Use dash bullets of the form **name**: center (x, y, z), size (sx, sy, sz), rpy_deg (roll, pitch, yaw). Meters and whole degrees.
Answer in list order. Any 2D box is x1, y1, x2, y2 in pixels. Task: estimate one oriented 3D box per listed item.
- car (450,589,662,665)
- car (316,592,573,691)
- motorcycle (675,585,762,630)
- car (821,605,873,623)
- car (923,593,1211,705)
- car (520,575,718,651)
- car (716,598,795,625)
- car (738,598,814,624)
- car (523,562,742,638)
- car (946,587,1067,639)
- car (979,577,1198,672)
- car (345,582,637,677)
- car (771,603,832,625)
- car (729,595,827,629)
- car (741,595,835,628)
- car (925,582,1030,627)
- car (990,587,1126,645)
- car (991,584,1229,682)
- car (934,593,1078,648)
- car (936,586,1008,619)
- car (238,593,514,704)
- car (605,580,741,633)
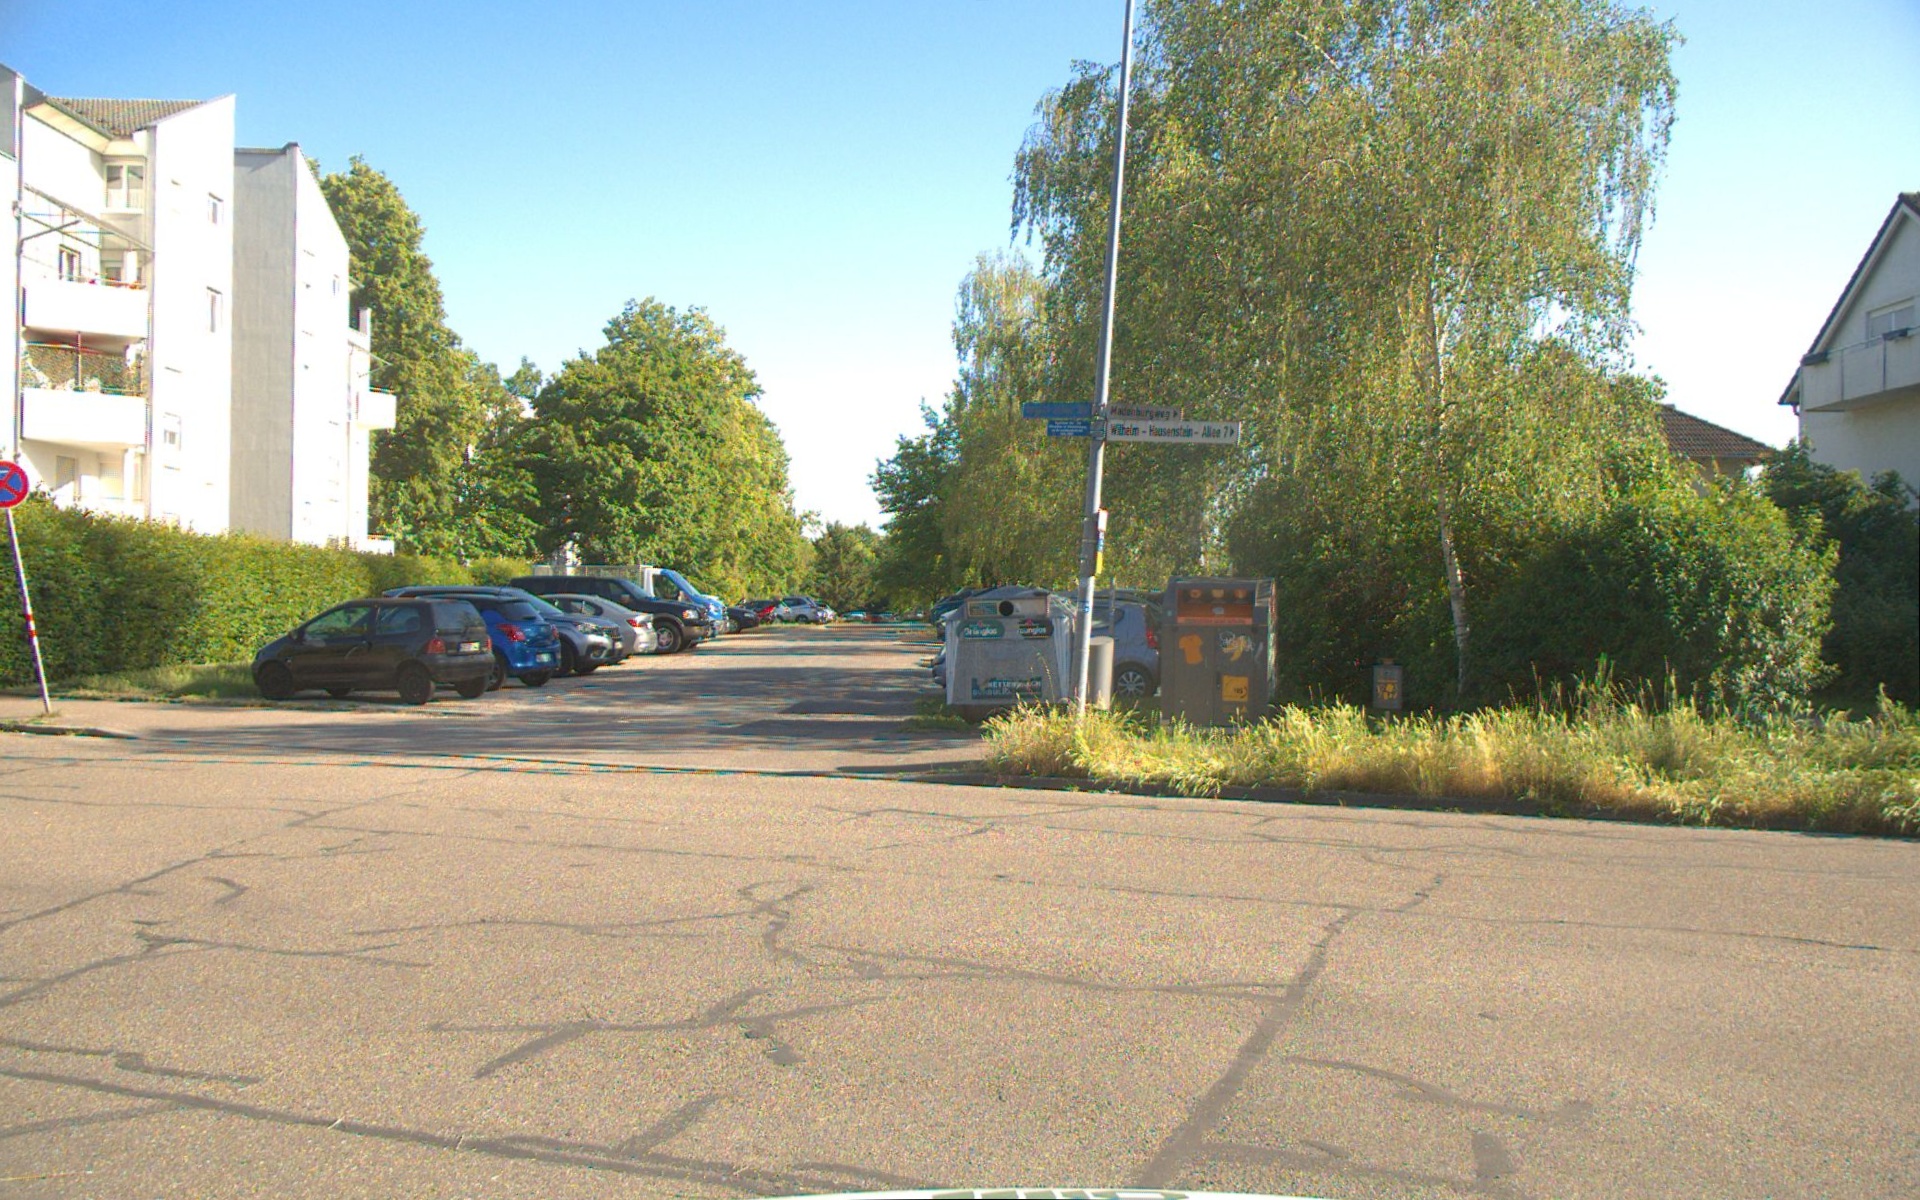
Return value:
- **car**: center (-8.405, 0.553, 34.688), size (4.061, 1.480, 1.618), rpy_deg (-1, 0, -3)
- **car**: center (-8.295, 0.647, 26.725), size (3.601, 1.523, 1.652), rpy_deg (0, 0, 12)
- **motorcycle**: center (-9.050, 0.278, 62.065), size (3.125, 1.624, 0.923), rpy_deg (0, 0, 0)
- **car**: center (-8.040, 0.966, 117.594), size (3.571, 1.234, 1.846), rpy_deg (0, 0, -2)
- **car**: center (1.599, 0.683, 24.218), size (3.966, 1.464, 1.636), rpy_deg (2, 0, 12)
- **car**: center (-8.363, 0.306, 40.746), size (4.427, 1.802, 1.848), rpy_deg (0, 0, 4)
- **car**: center (-10.508, 0.570, 85.169), size (3.860, 1.357, 1.846), rpy_deg (0, 0, -2)
- **car**: center (-9.814, 0.586, 88.479), size (3.860, 1.357, 1.846), rpy_deg (0, 0, -2)
- **car**: center (-9.721, -0.007, 49.582), size (6.131, 2.184, 2.409), rpy_deg (0, 0, -3)
- **car**: center (1.538, 0.417, 54.640), size (3.904, 1.613, 1.798), rpy_deg (1, -1, 2)
- **car**: center (2.506, 0.473, 32.798), size (4.026, 1.736, 1.788), rpy_deg (1, 1, -7)
- **car**: center (-8.654, 0.535, 30.737), size (4.886, 1.683, 1.785), rpy_deg (0, 0, 5)
- **car**: center (-10.391, 0.910, 108.502), size (3.860, 1.357, 1.846), rpy_deg (0, 0, -2)
- **car**: center (-7.458, 0.500, 68.109), size (3.860, 1.357, 1.846), rpy_deg (0, 0, -2)
- **car**: center (-7.372, 0.495, 71.005), size (3.860, 1.357, 1.846), rpy_deg (0, 0, -2)
- **car**: center (0.702, 0.177, 63.114), size (3.904, 1.613, 1.798), rpy_deg (1, -1, 2)
- **car**: center (2.868, 0.464, 48.776), size (3.904, 1.613, 1.798), rpy_deg (1, -1, 2)
- **car**: center (2.660, 0.577, 29.839), size (3.975, 1.631, 1.789), rpy_deg (1, 1, -6)
- **car**: center (1.285, 0.561, 45.766), size (3.904, 1.425, 1.798), rpy_deg (1, -1, 2)
- **car**: center (0.704, 0.127, 91.673), size (3.904, 1.738, 1.798), rpy_deg (1, -1, 2)
- **car**: center (-8.514, 0.668, 24.193), size (3.447, 1.492, 1.705), rpy_deg (1, 1, 16)
- **car**: center (-9.999, 0.233, 57.870), size (4.429, 1.802, 1.847), rpy_deg (0, 0, 0)
